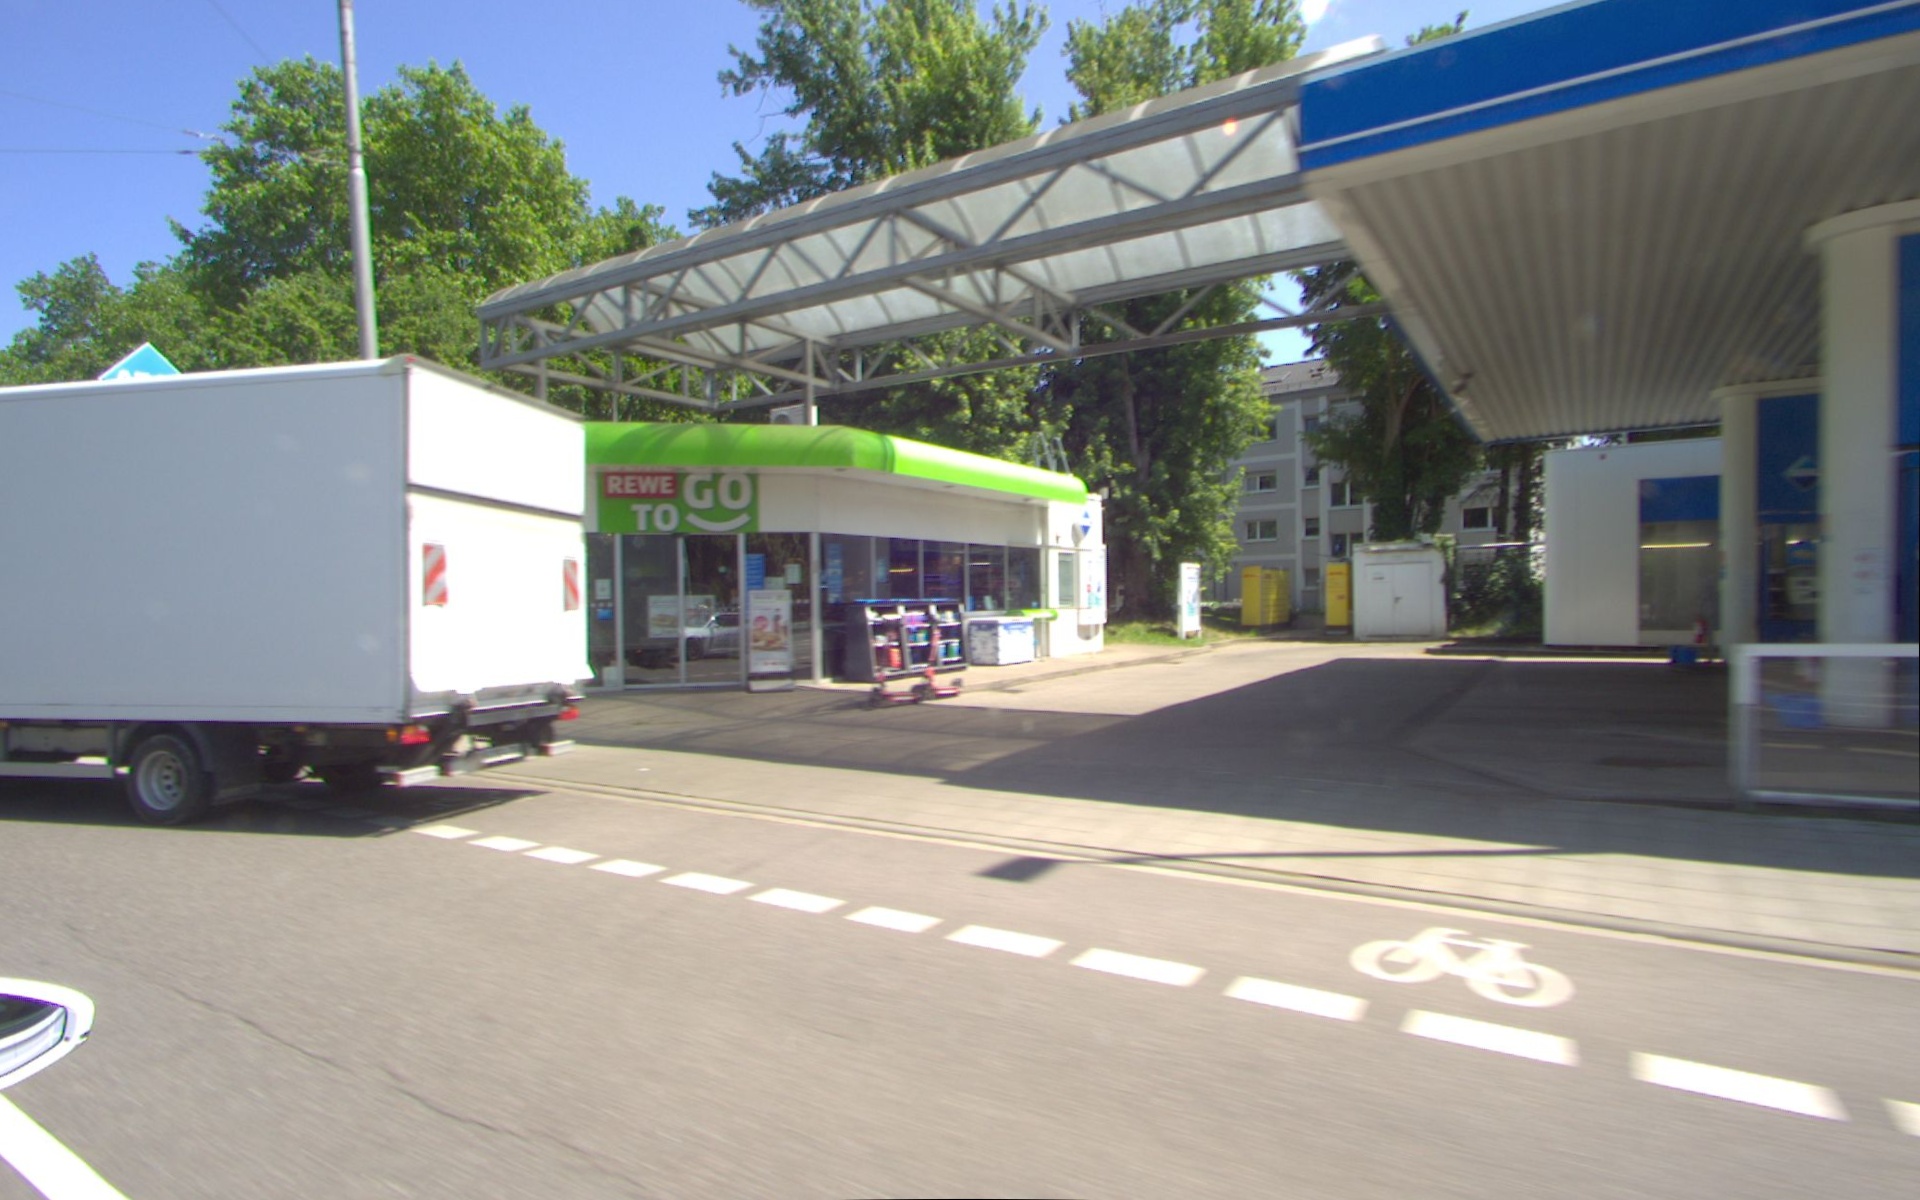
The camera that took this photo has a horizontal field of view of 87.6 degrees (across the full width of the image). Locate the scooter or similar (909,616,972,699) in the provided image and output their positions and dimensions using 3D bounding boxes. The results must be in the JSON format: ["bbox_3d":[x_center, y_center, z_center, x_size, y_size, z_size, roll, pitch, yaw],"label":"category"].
[{"bbox_3d":[-0.277,0.848,15.122,0.378,1.192,1.132,0,0,33],"label":"scooter or similar"}]

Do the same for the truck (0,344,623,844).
[{"bbox_3d":[-7.146,0.007,8.918,7.686,3.436,2.425,-1,0,13],"label":"truck"}]
